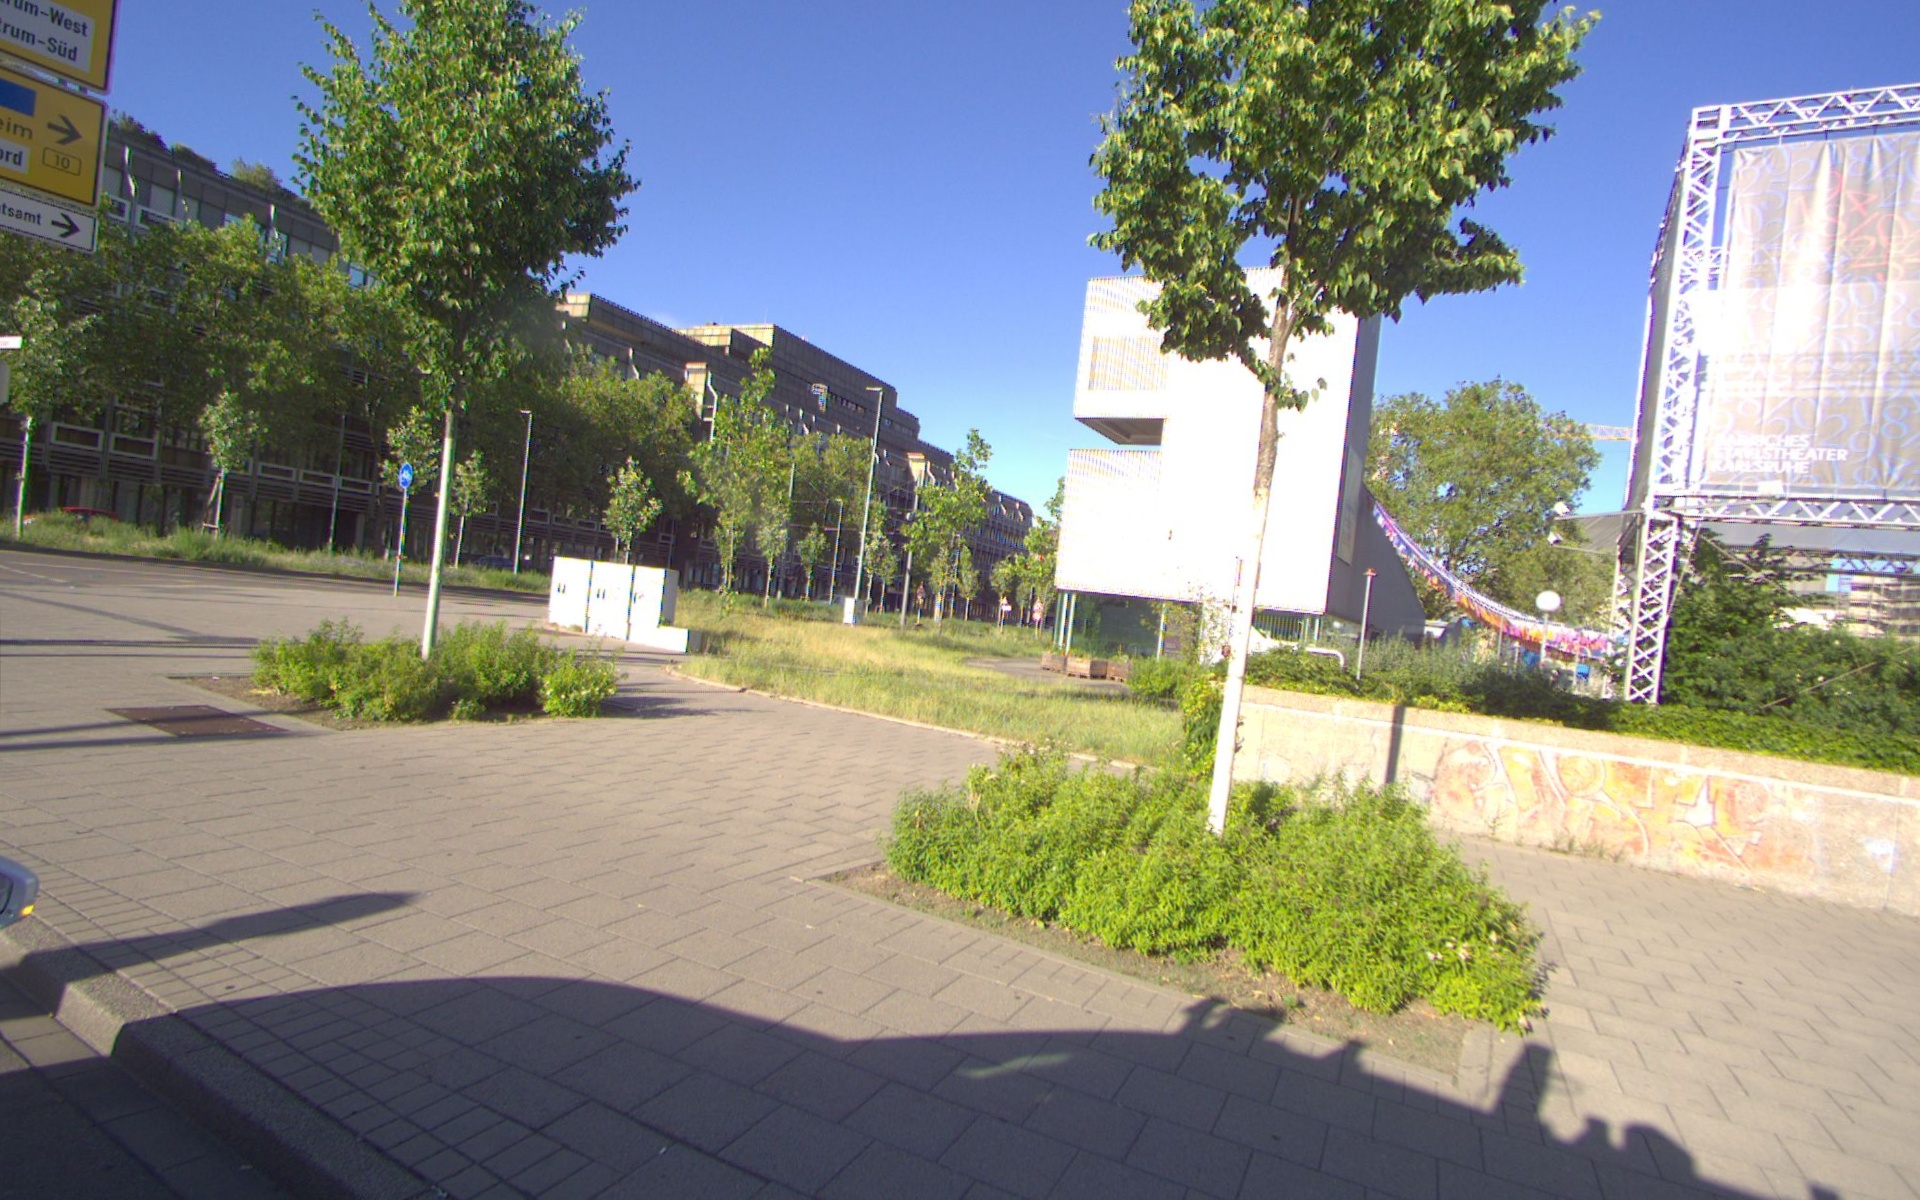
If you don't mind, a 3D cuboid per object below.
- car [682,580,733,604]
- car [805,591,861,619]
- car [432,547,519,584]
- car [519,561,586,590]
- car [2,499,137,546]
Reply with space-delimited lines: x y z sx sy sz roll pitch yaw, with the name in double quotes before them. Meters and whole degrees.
"car" -21.857 -0.707 87.111 1.834 1.615 4.274 6 -2 26
"car" -11.408 0.474 90.920 2.226 2.038 5.705 4 -2 25
"car" -31.788 -2.232 66.170 1.964 1.699 4.870 8 -1 23
"car" -29.007 -1.731 71.677 1.966 1.539 3.995 7 0 29
"car" -37.973 -3.275 43.009 1.813 1.504 3.877 3 -2 24
